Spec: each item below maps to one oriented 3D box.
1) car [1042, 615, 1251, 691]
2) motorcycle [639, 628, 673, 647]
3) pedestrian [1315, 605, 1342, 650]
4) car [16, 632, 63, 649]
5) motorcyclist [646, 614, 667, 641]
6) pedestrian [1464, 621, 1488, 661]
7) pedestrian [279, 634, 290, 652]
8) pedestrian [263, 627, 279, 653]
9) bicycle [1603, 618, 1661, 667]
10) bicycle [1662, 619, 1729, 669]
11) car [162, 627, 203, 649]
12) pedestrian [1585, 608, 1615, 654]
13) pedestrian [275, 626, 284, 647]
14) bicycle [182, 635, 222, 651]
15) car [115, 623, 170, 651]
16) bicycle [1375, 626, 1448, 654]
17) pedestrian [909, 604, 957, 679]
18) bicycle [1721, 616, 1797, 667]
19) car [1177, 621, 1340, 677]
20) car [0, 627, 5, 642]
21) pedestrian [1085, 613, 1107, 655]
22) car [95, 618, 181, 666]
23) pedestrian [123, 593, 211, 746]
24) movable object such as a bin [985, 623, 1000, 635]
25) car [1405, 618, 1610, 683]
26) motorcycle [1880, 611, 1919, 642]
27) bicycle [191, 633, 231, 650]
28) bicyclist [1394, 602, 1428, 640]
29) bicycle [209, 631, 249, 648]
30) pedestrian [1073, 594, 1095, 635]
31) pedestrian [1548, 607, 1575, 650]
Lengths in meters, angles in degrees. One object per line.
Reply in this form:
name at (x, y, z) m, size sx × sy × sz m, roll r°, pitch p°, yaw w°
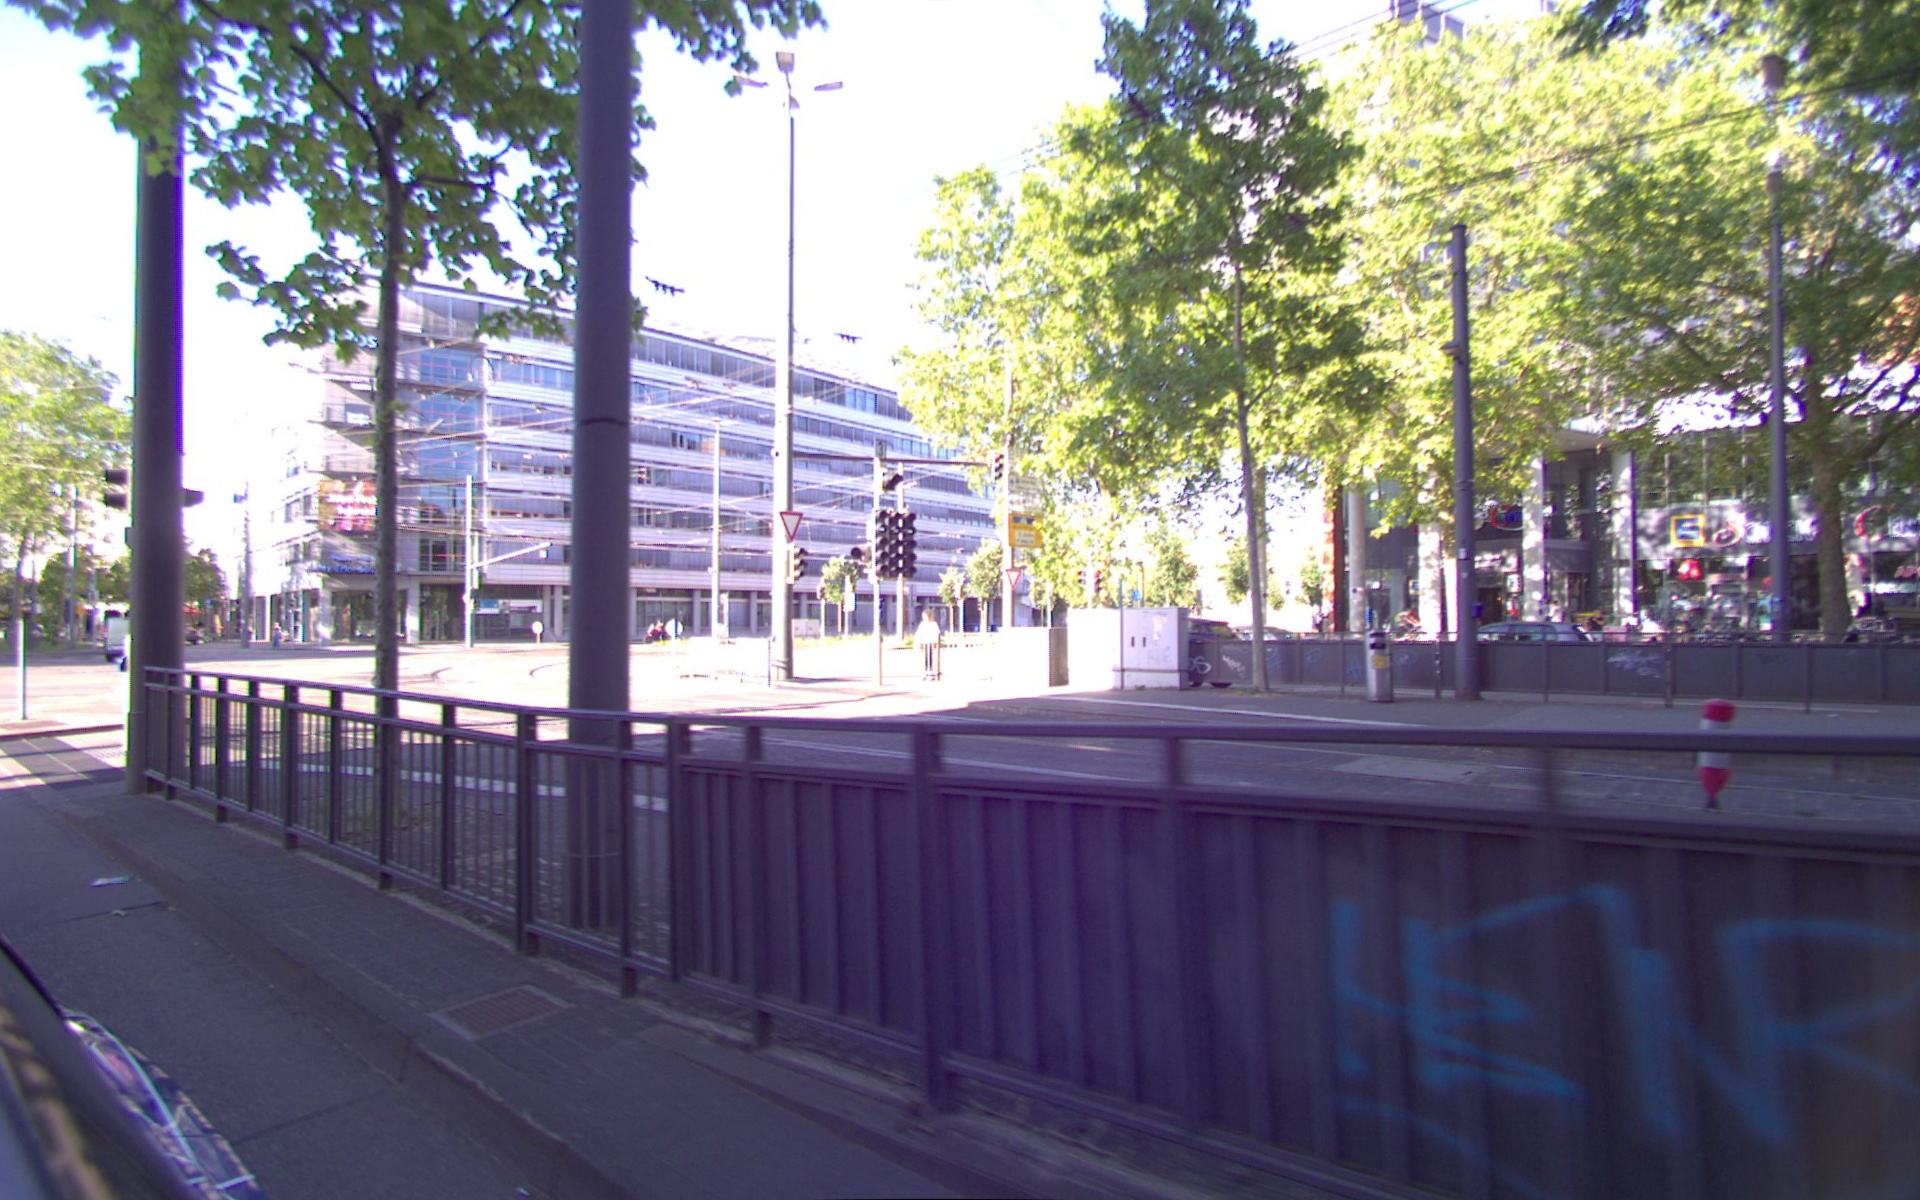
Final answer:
car at (3.795, 1.022, 20.957) m, size 3.998 × 1.425 × 1.649 m, roll -1°, pitch -1°, yaw 41°
motorcycle at (-21.164, 2.599, 70.457) m, size 0.821 × 1.230 × 2.225 m, roll -1°, pitch -1°, yaw 41°
pedestrian at (14.043, 1.049, 38.552) m, size 0.716 × 1.693 × 0.819 m, roll -2°, pitch -4°, yaw 44°
car at (-80.545, 3.530, 88.568) m, size 3.959 × 1.486 × 1.849 m, roll -1°, pitch -2°, yaw 28°
motorcyclist at (-21.148, 1.924, 70.488) m, size 0.821 × 1.871 × 1.097 m, roll -1°, pitch -1°, yaw 41°
pedestrian at (21.926, 1.732, 43.014) m, size 0.695 × 1.665 × 0.699 m, roll 1°, pitch -2°, yaw -42°
pedestrian at (-44.024, 2.804, 65.933) m, size 0.461 × 1.219 × 0.437 m, roll -3°, pitch -3°, yaw 40°
pedestrian at (-44.749, 2.600, 65.731) m, size 0.792 × 1.653 × 0.652 m, roll -3°, pitch -3°, yaw 40°
bicycle at (19.793, 1.232, 29.884) m, size 1.030 × 1.363 × 3.331 m, roll -1°, pitch -2°, yaw 27°
bicycle at (21.118, 1.238, 29.151) m, size 1.030 × 1.363 × 3.331 m, roll -1°, pitch -2°, yaw 27°
car at (-55.400, 2.686, 72.088) m, size 1.840 × 1.486 × 3.980 m, roll 1°, pitch -2°, yaw -45°
pedestrian at (23.322, 1.131, 36.912) m, size 0.692 × 1.665 × 0.702 m, roll -1°, pitch -2°, yaw 15°
pedestrian at (-58.801, 3.146, 87.461) m, size 0.577 × 1.747 × 0.795 m, roll 0°, pitch -3°, yaw -38°
bicycle at (-58.741, 3.301, 78.457) m, size 0.771 × 1.223 × 2.374 m, roll -2°, pitch -3°, yaw 26°
car at (-60.235, 2.700, 74.542) m, size 4.444 × 2.031 × 1.846 m, roll -1°, pitch -2°, yaw 33°
bicycle at (18.635, 1.627, 41.810) m, size 0.881 × 1.112 × 2.699 m, roll 1°, pitch -2°, yaw -33°
pedestrian at (-0.613, 0.954, 23.260) m, size 0.818 × 1.693 × 0.717 m, roll 3°, pitch -3°, yaw -39°
bicycle at (22.654, 1.151, 28.780) m, size 1.030 × 1.363 × 3.331 m, roll -1°, pitch -2°, yaw 27°
car at (8.162, 1.295, 27.866) m, size 4.000 × 1.417 × 1.648 m, roll -1°, pitch -1°, yaw 43°
car at (-94.677, 3.385, 98.171) m, size 3.959 × 1.486 × 1.849 m, roll -1°, pitch -2°, yaw 28°
pedestrian at (6.157, 1.543, 45.702) m, size 0.733 × 1.884 × 0.664 m, roll -2°, pitch -2°, yaw 41°
car at (-34.662, 1.744, 42.795) m, size 1.813 × 1.850 × 4.121 m, roll 1°, pitch 0°, yaw -24°
pedestrian at (-9.219, 0.791, 11.764) m, size 0.705 × 1.693 × 0.832 m, roll 3°, pitch -3°, yaw -41°
movable object such as a bin at (3.752, 3.314, 116.136) m, size 1.174 × 1.311 × 1.310 m, roll -2°, pitch -2°, yaw 44°
car at (12.913, 1.135, 24.005) m, size 4.000 × 1.417 × 1.648 m, roll -1°, pitch -1°, yaw 43°
motorcycle at (33.134, 0.934, 35.515) m, size 2.305 × 1.066 × 0.834 m, roll 1°, pitch -2°, yaw -38°
bicycle at (-56.493, 3.152, 76.364) m, size 0.771 × 1.223 × 2.374 m, roll -2°, pitch -3°, yaw 26°
bicyclist at (18.640, 0.883, 41.839) m, size 0.881 × 1.560 × 0.942 m, roll 2°, pitch -2°, yaw -34°
bicycle at (-54.904, 2.970, 76.034) m, size 2.359 × 1.223 × 0.776 m, roll 2°, pitch -4°, yaw -44°
pedestrian at (5.737, 0.673, 46.658) m, size 0.734 × 1.884 × 0.689 m, roll -2°, pitch -2°, yaw 43°
pedestrian at (25.653, 1.208, 43.157) m, size 0.687 × 1.781 × 0.707 m, roll 0°, pitch -2°, yaw -36°
